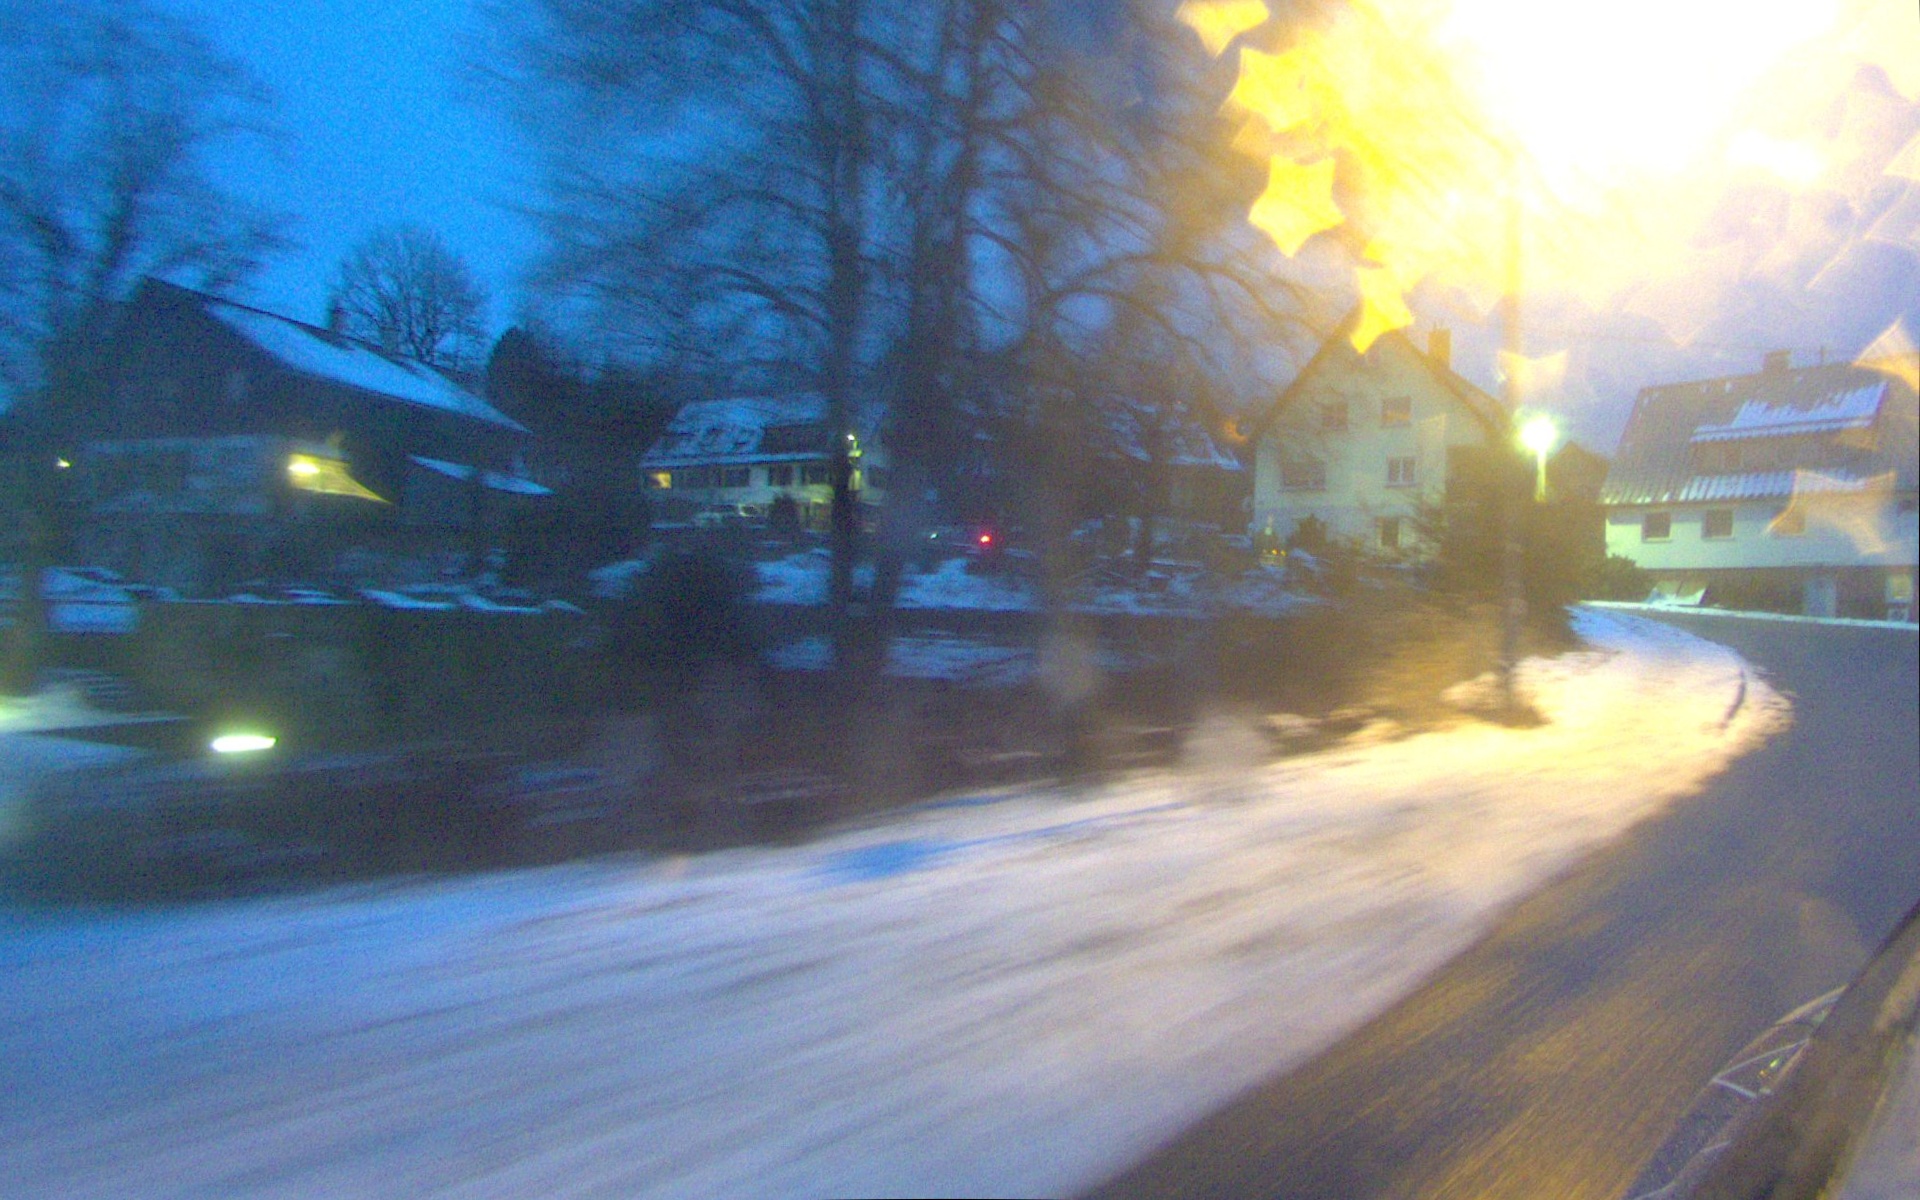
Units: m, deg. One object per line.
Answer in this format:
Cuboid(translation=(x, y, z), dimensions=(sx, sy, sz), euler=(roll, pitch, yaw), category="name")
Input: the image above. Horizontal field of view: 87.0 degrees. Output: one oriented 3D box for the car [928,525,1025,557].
Cuboid(translation=(0.828, -3.069, 52.541), dimensions=(4.917, 1.398, 1.970), euler=(6, 4, 42), category="car")
